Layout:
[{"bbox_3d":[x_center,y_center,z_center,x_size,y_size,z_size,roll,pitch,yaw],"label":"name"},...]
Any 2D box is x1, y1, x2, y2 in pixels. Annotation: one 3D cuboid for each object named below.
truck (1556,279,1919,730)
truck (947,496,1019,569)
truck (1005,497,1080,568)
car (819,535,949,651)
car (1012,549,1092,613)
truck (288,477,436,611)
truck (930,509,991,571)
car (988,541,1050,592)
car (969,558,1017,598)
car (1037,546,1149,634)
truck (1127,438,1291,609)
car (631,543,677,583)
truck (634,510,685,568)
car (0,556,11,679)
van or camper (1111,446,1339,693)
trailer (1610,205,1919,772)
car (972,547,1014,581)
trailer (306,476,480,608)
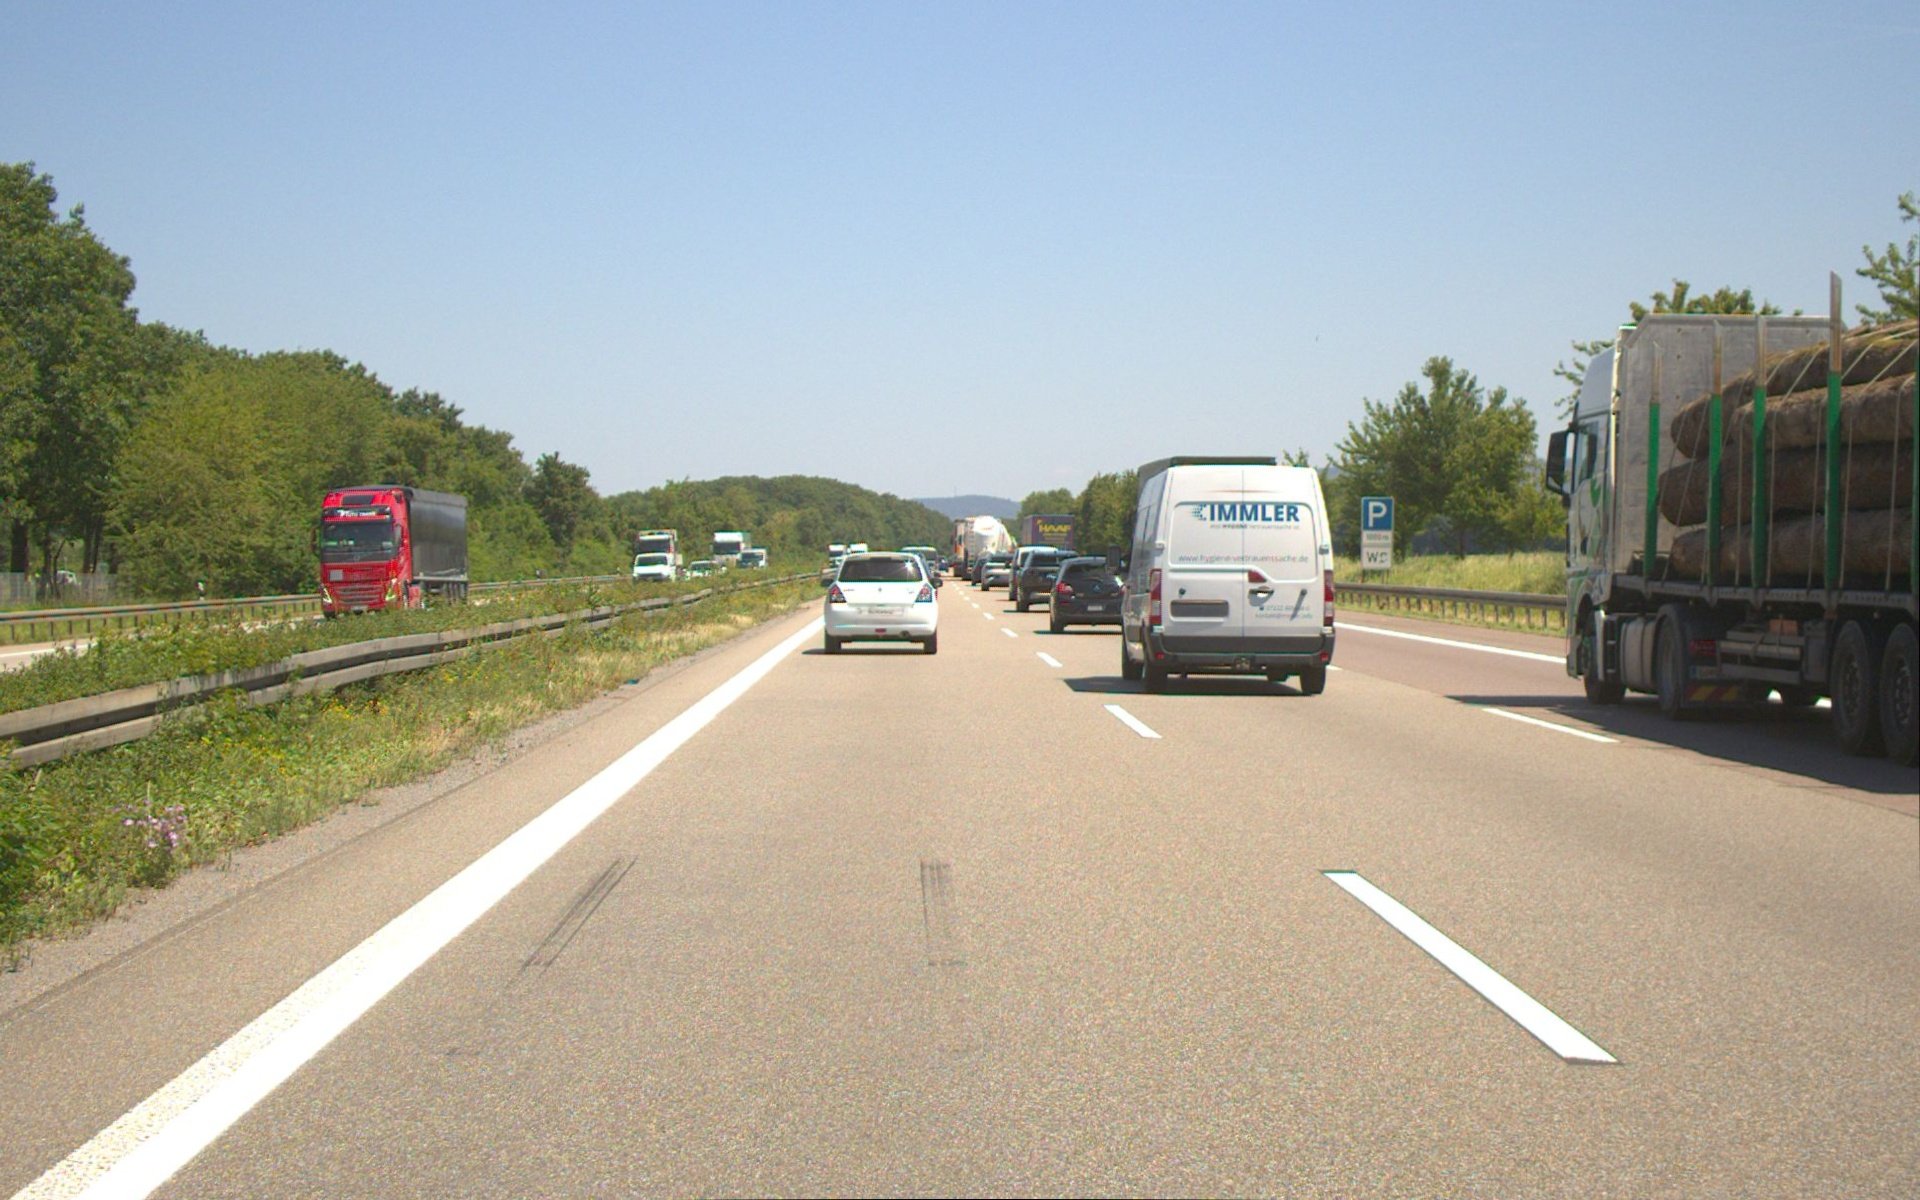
[{"bbox_3d":[7.853,-0.894,33.866,2.669,3.981,6.636,1,1,-1],"label":"truck"},{"bbox_3d":[1.336,-4.084,210.897,3.257,4.194,16.846,2,1,-3],"label":"truck"},{"bbox_3d":[5.082,-4.181,216.343,3.257,4.194,16.846,2,1,-3],"label":"truck"},{"bbox_3d":[-1.193,-0.129,52.315,1.857,1.646,4.000,2,1,-2],"label":"car"},{"bbox_3d":[2.454,-0.524,92.141,1.857,1.646,4.000,1,1,-2],"label":"car"},{"bbox_3d":[-18.580,-1.748,107.279,3.439,3.917,6.221,-2,1,-1],"label":"truck"},{"bbox_3d":[-0.026,-4.256,245.195,3.257,4.194,16.846,2,1,-3],"label":"truck"},{"bbox_3d":[1.961,-1.126,115.600,1.857,1.646,4.000,1,1,-2],"label":"car"},{"bbox_3d":[1.397,-0.939,147.156,1.857,1.646,4.000,1,1,-2],"label":"car"},{"bbox_3d":[2.580,-0.219,67.393,1.857,1.646,4.000,1,1,-2],"label":"car"},{"bbox_3d":[6.629,-2.023,94.246,3.079,4.194,16.844,2,1,0],"label":"truck"},{"bbox_3d":[-15.197,-1.861,170.825,1.995,1.906,5.212,-2,1,-2],"label":"car"},{"bbox_3d":[-20.248,-4.128,231.861,2.605,3.748,9.866,-2,1,-1],"label":"truck"},{"bbox_3d":[-14.024,0.294,45.075,1.846,1.676,4.815,-2,1,-1],"label":"car"},{"bbox_3d":[2.960,-0.362,39.634,2.058,2.613,5.985,0,1,-1],"label":"van or camper"},{"bbox_3d":[7.954,-0.825,27.566,2.653,3.945,13.637,1,1,-1],"label":"trailer"},{"bbox_3d":[1.633,-1.813,171.964,1.857,1.646,4.000,1,1,-2],"label":"car"},{"bbox_3d":[-18.672,-1.916,114.392,3.447,3.997,14.204,-2,1,-1],"label":"trailer"}]
